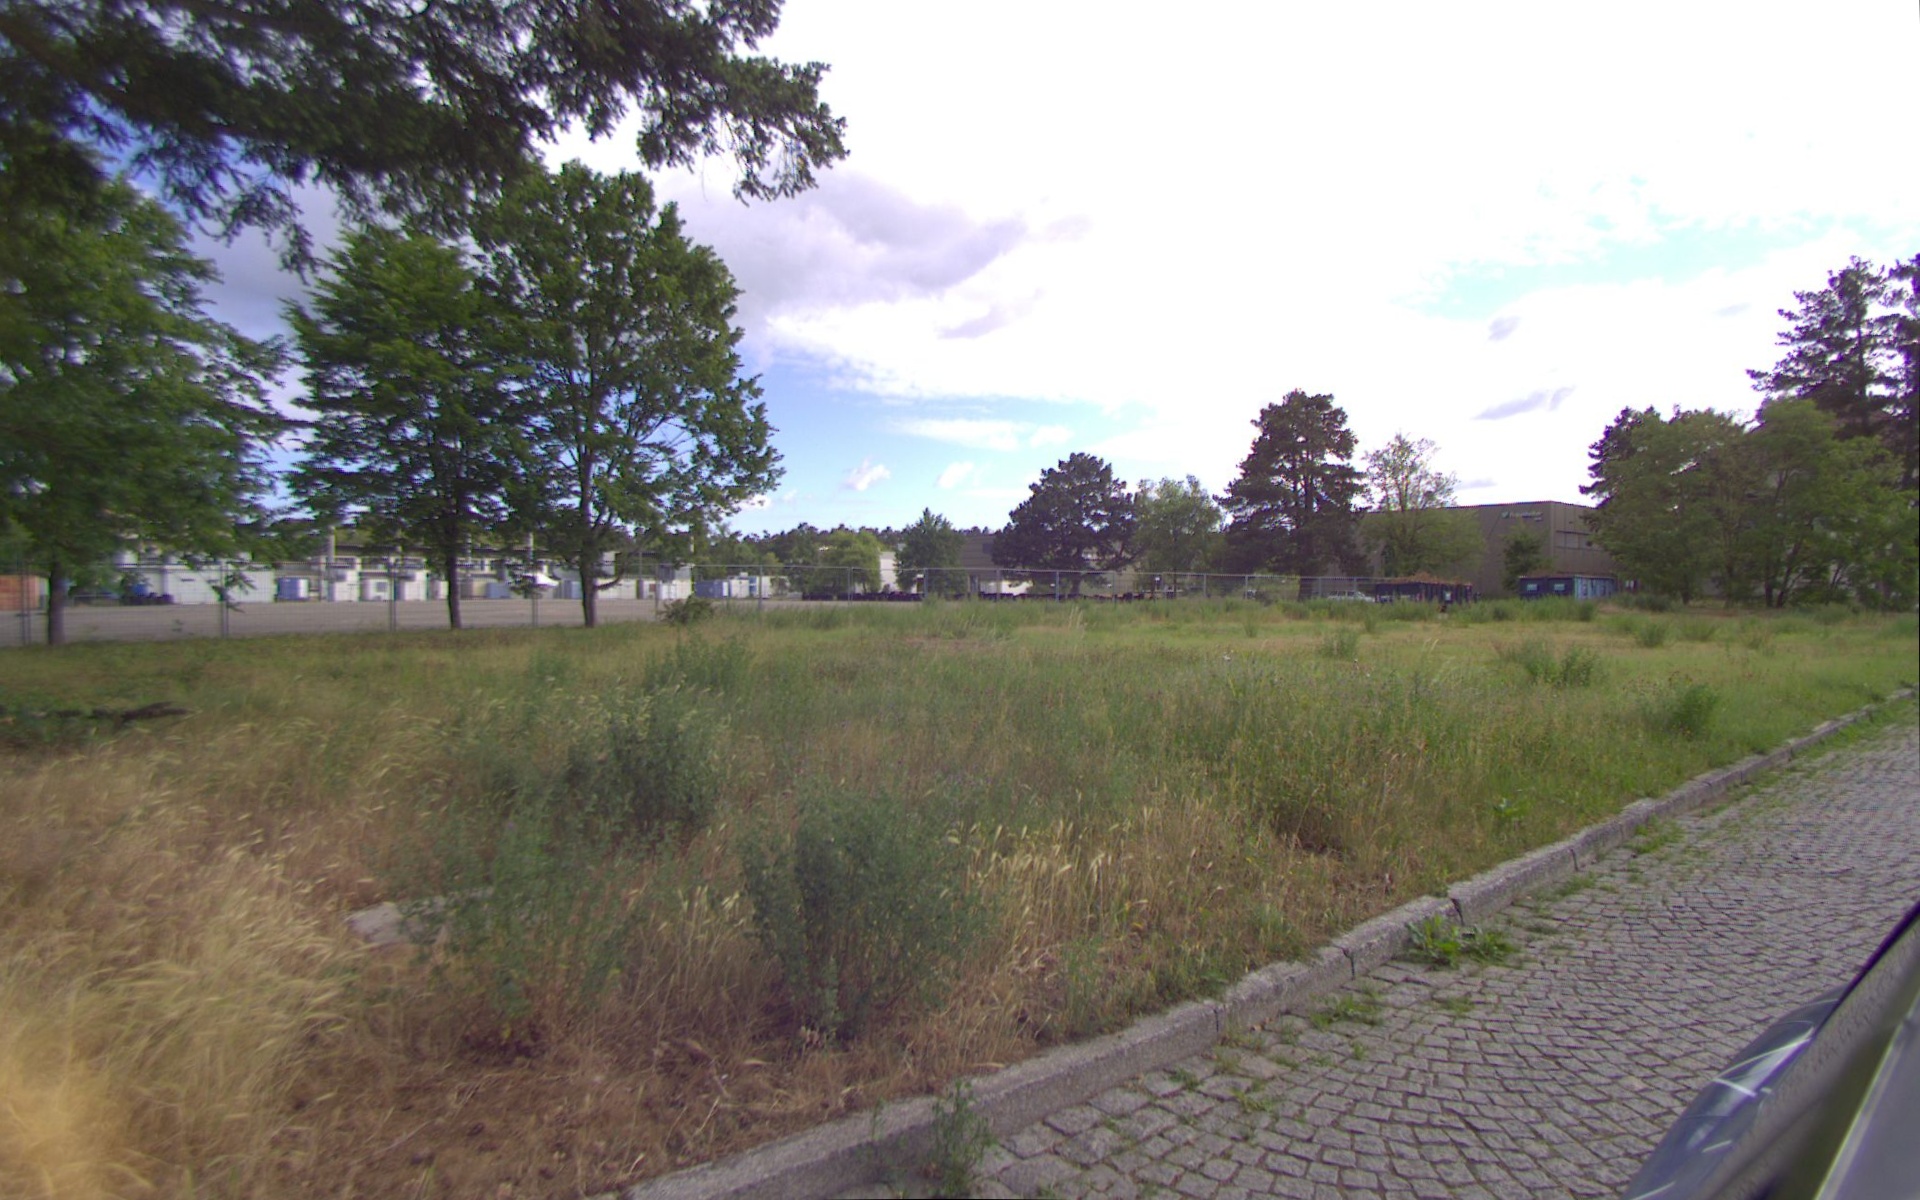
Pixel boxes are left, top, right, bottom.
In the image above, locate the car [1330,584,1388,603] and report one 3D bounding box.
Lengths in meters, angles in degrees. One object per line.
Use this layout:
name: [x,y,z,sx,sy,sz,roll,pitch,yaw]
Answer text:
car: [32.691,-0.516,82.941,1.939,1.501,3.992,0,1,-42]
